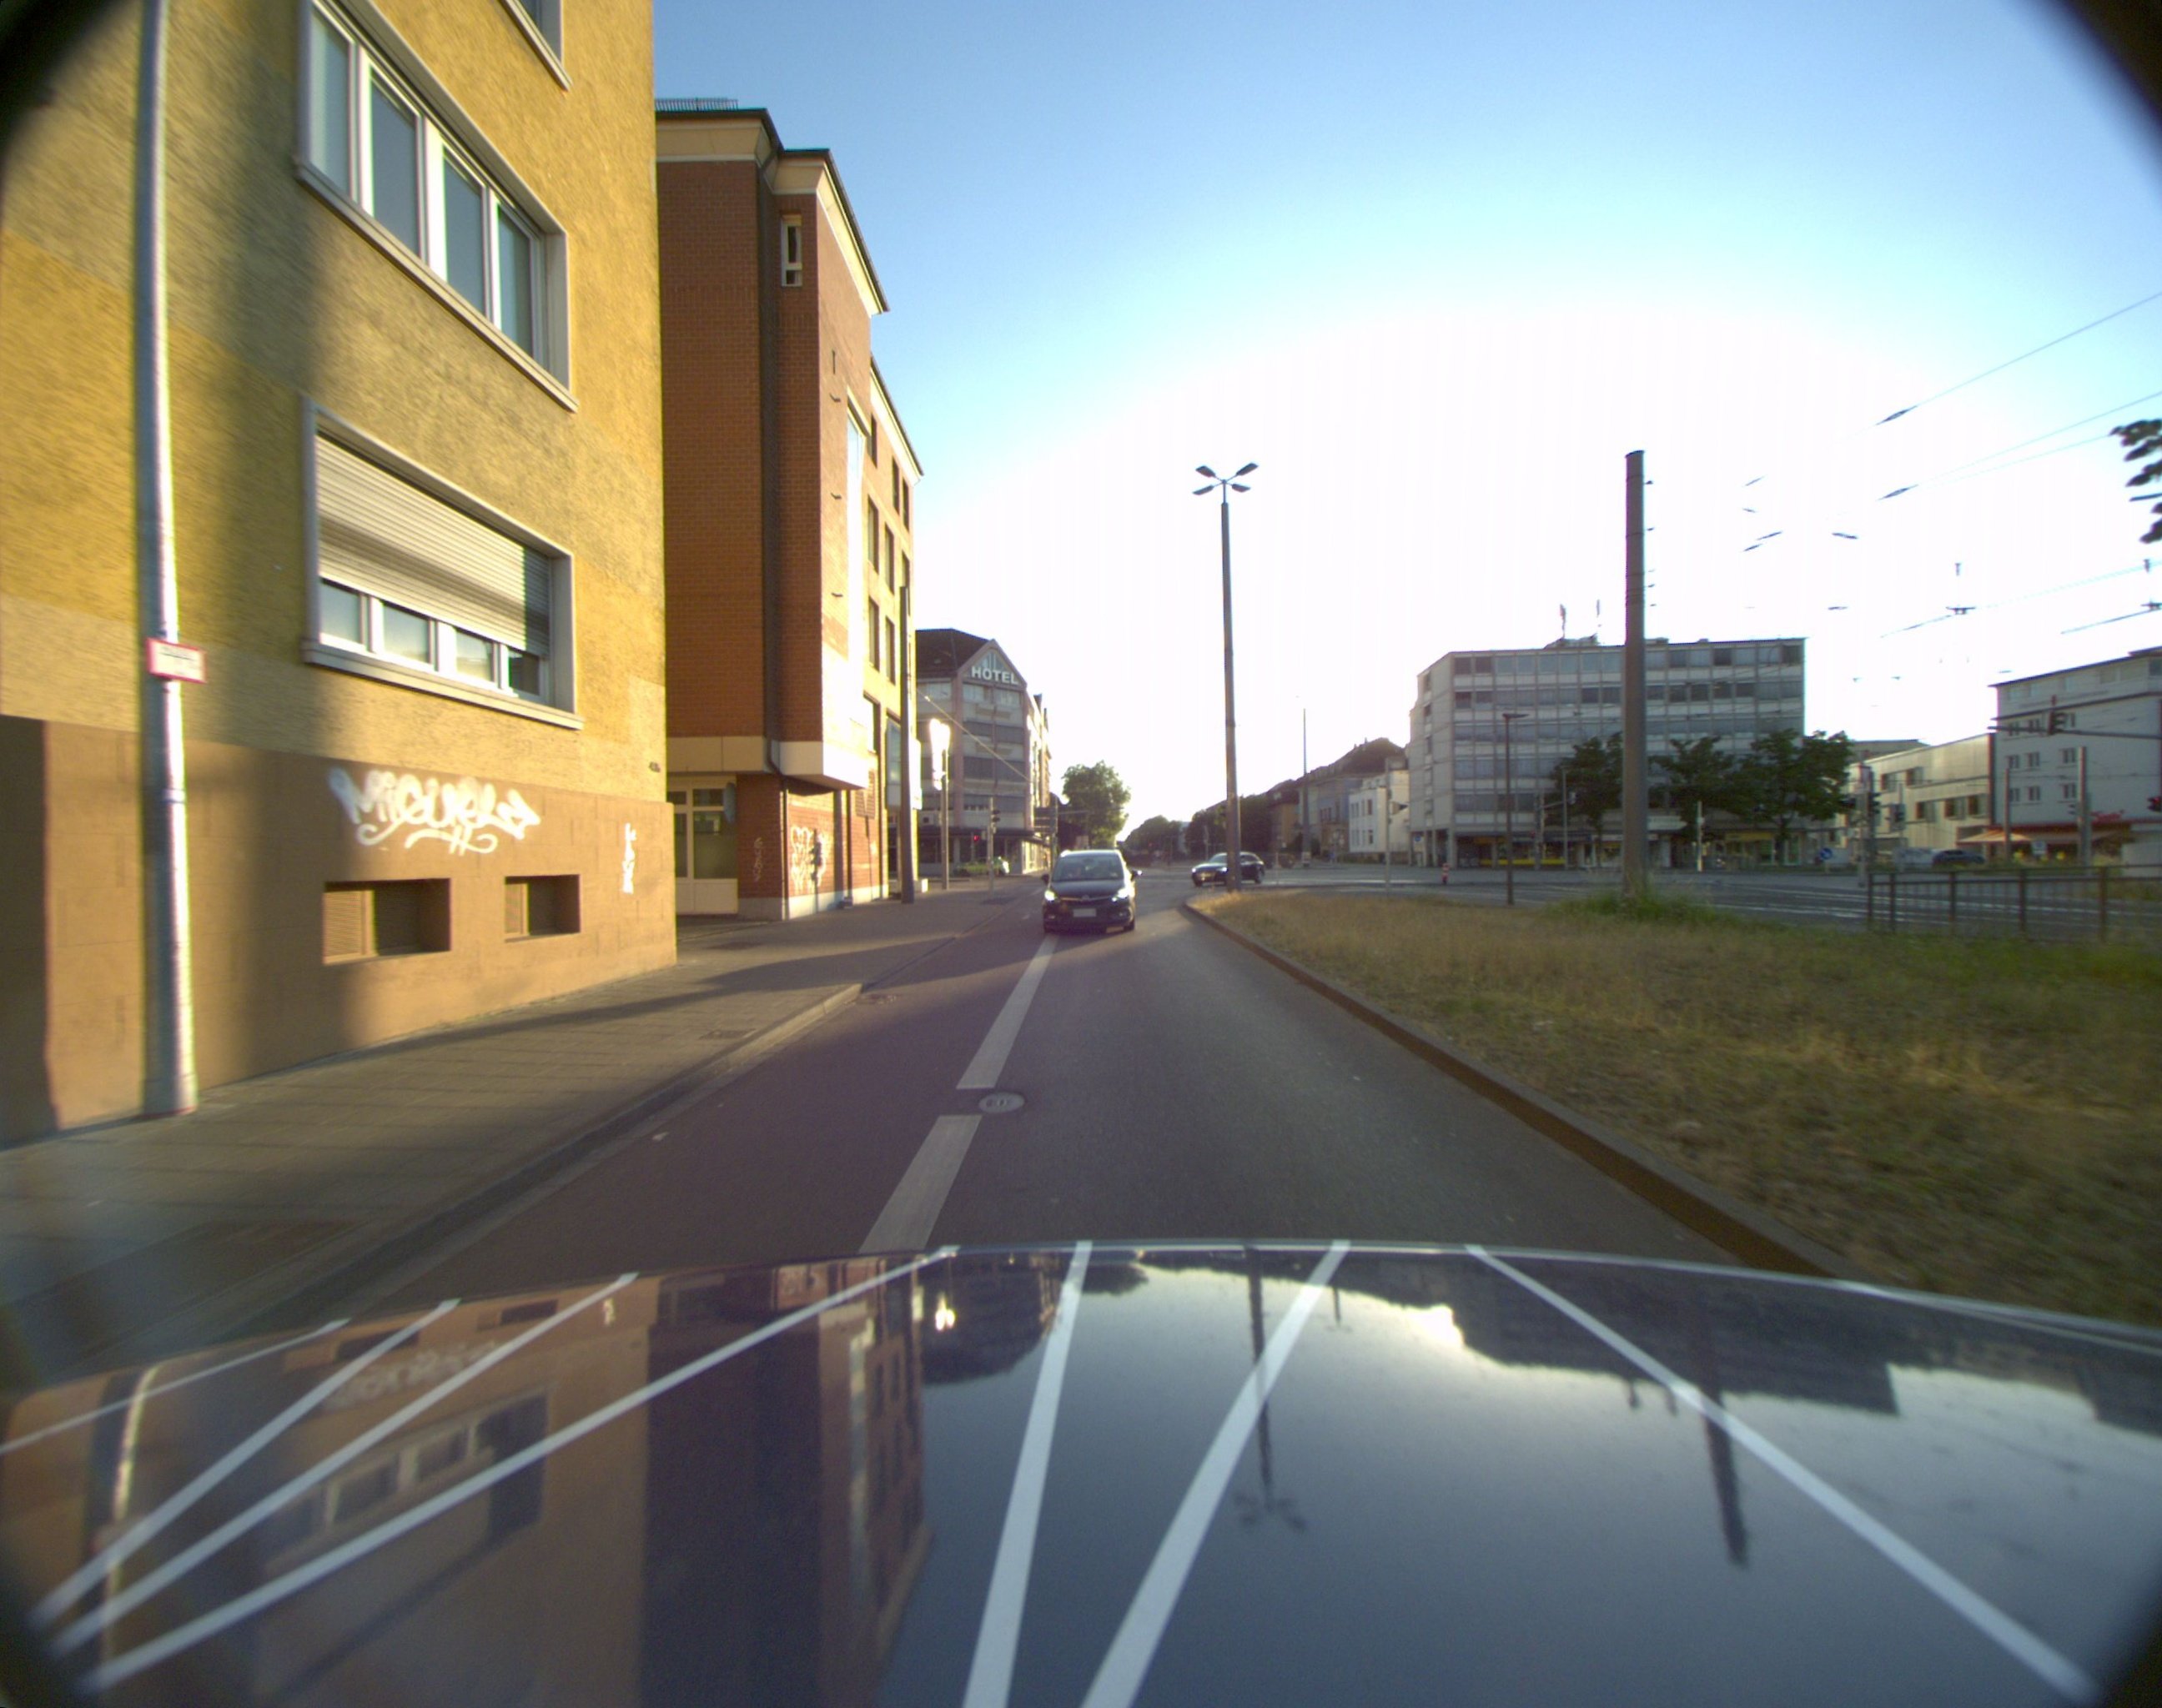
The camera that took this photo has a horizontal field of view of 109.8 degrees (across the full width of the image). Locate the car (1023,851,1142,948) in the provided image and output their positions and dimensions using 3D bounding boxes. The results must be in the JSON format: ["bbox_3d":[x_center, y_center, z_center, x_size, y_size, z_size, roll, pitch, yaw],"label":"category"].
[{"bbox_3d":[0.194,0.791,15.363,1.799,1.609,4.389,-3,0,7],"label":"car"}]

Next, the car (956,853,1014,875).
[{"bbox_3d":[-7.111,0.754,56.397,4.020,1.557,1.749,-1,0,1],"label":"car"}]

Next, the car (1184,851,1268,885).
[{"bbox_3d":[6.514,0.596,33.833,1.847,1.399,4.234,0,0,40],"label":"car"}]
